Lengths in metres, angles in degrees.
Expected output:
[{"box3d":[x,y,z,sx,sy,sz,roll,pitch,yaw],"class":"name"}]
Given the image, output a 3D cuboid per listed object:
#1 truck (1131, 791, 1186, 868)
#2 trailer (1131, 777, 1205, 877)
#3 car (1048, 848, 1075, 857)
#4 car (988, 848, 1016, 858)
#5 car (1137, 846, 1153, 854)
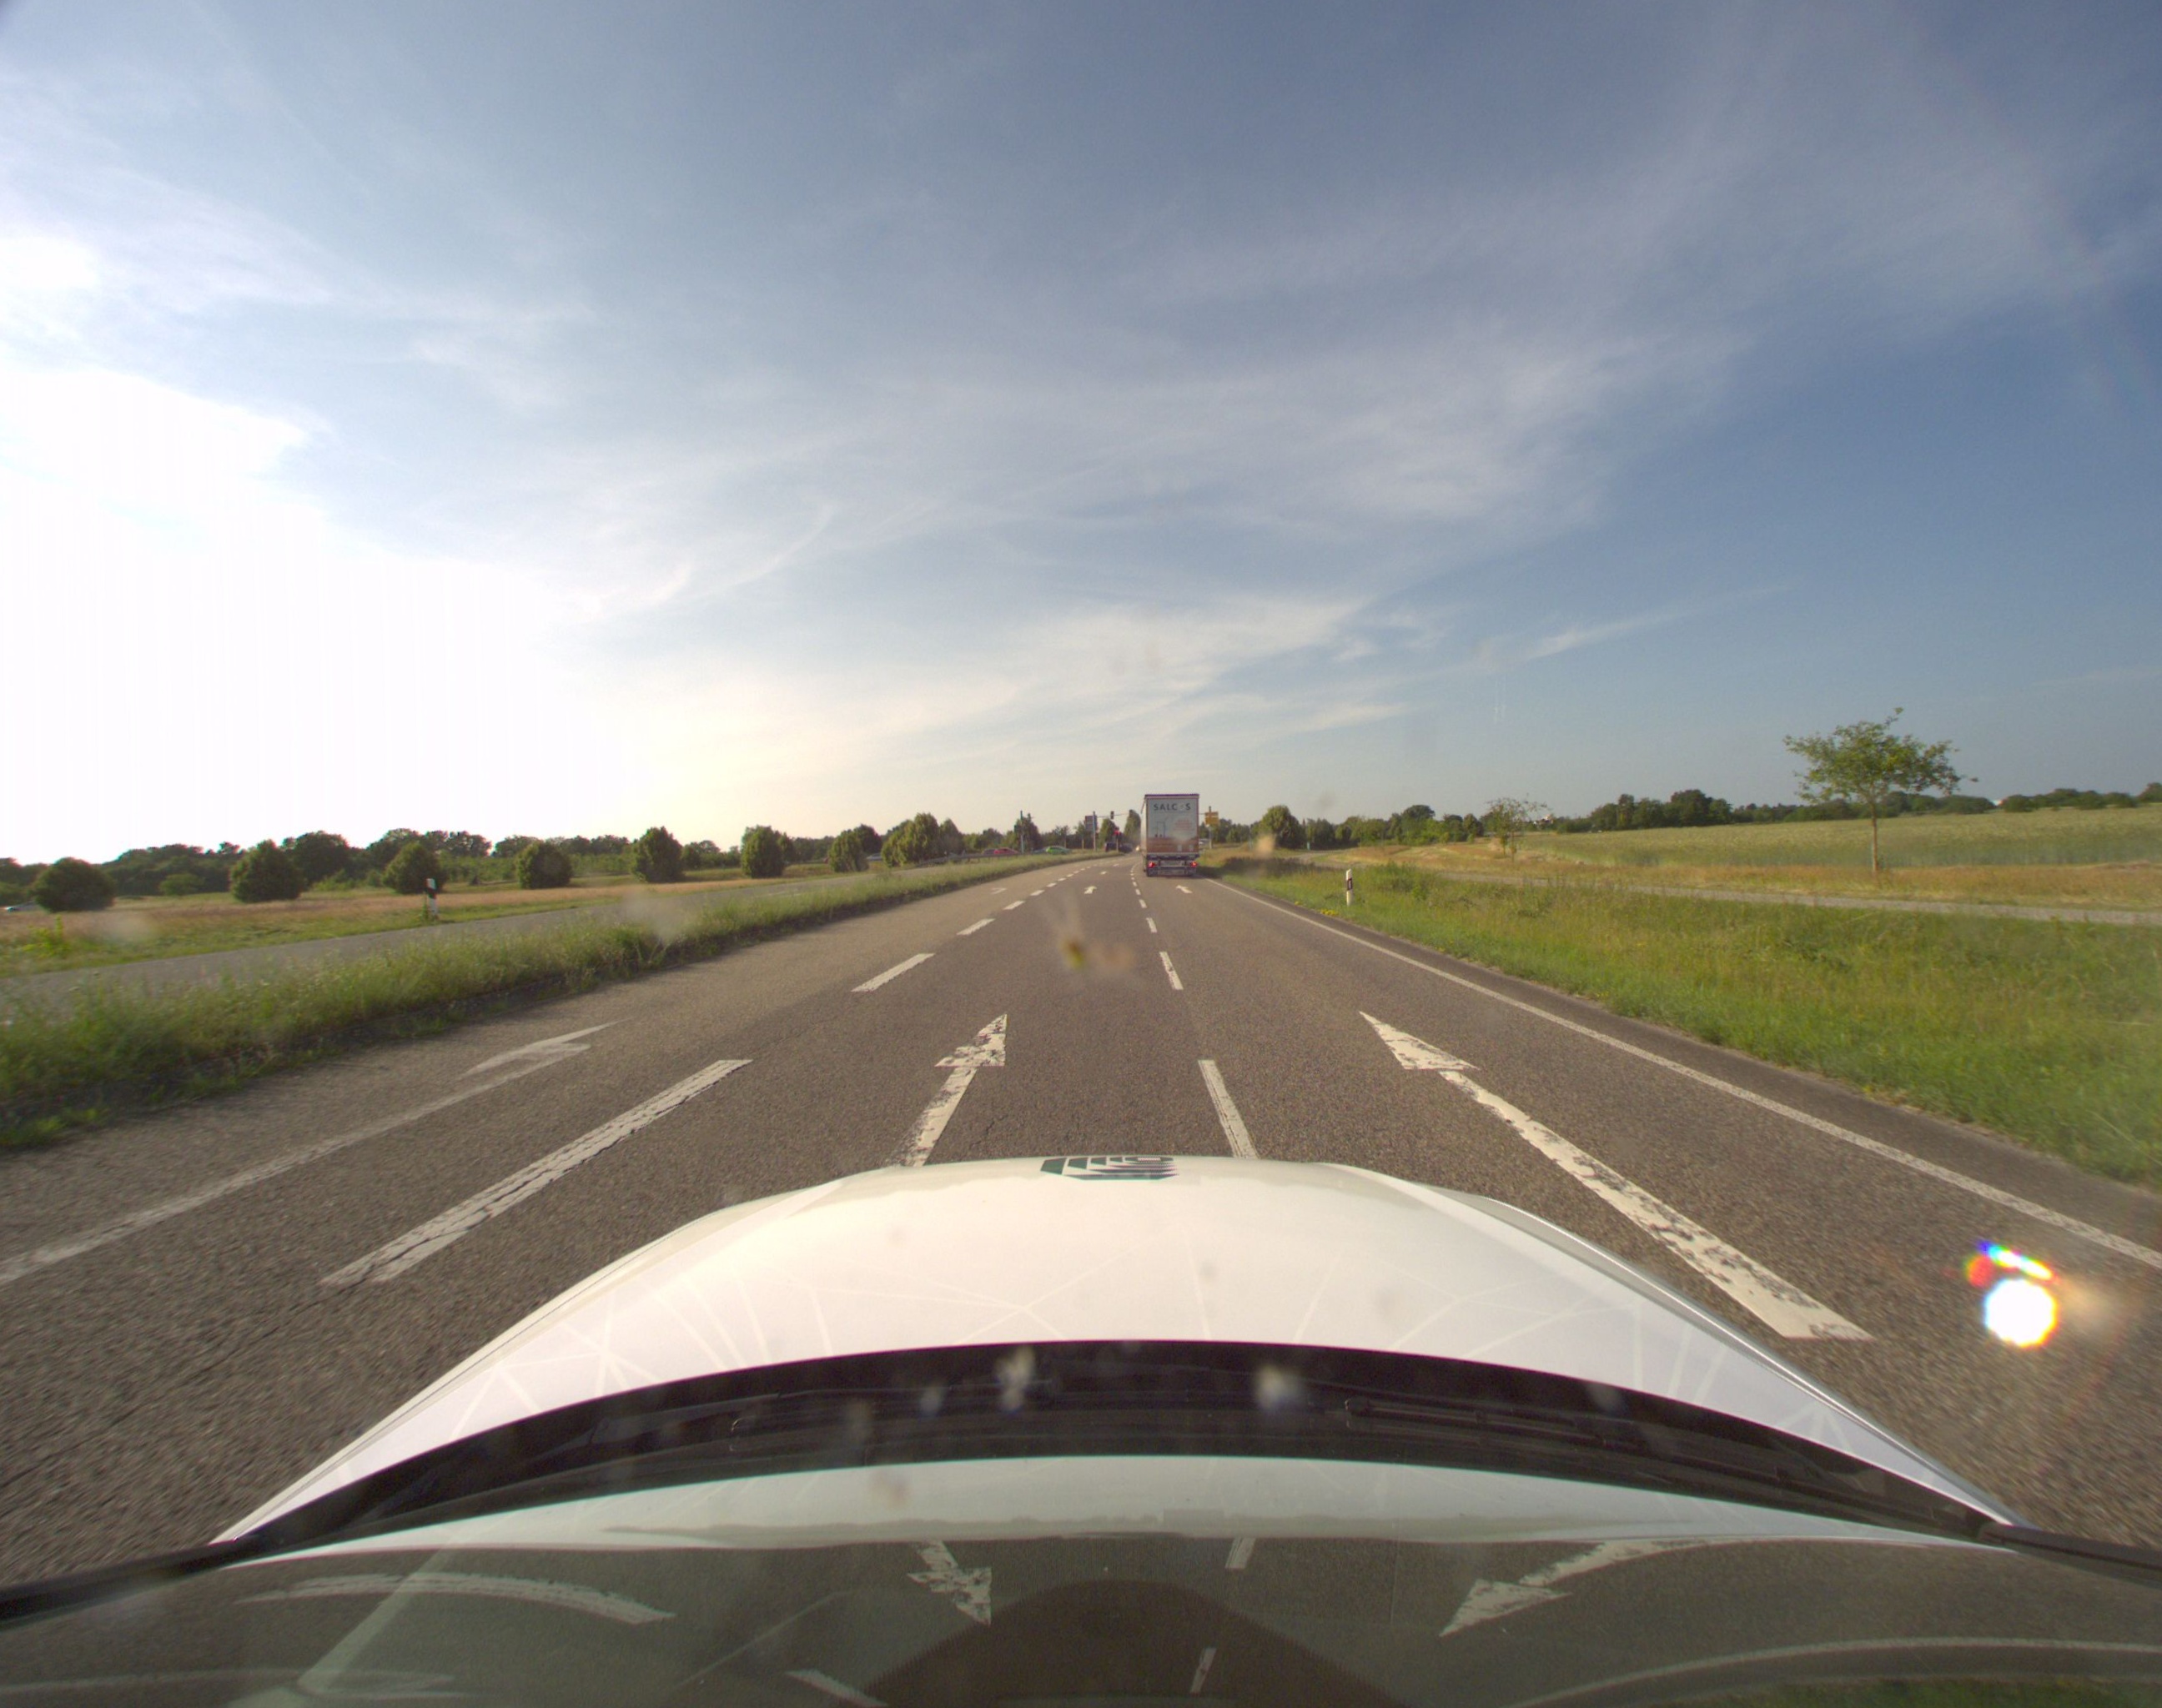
[{"box3d":[4.892,-1.492,52.439,3.287,4.657,5.736,-1,0,3],"class":"truck"},{"box3d":[4.532,-1.364,45.126,3.268,4.680,13.157,-1,1,3],"class":"trailer"},{"box3d":[-3.138,-0.188,131.714,4.407,1.417,1.920,0,-1,0],"class":"car"},{"box3d":[-13.072,-0.190,134.109,4.240,1.565,1.906,0,-1,8],"class":"car"},{"box3d":[11.803,-0.718,150.806,1.771,1.488,4.674,-2,0,19],"class":"car"}]
